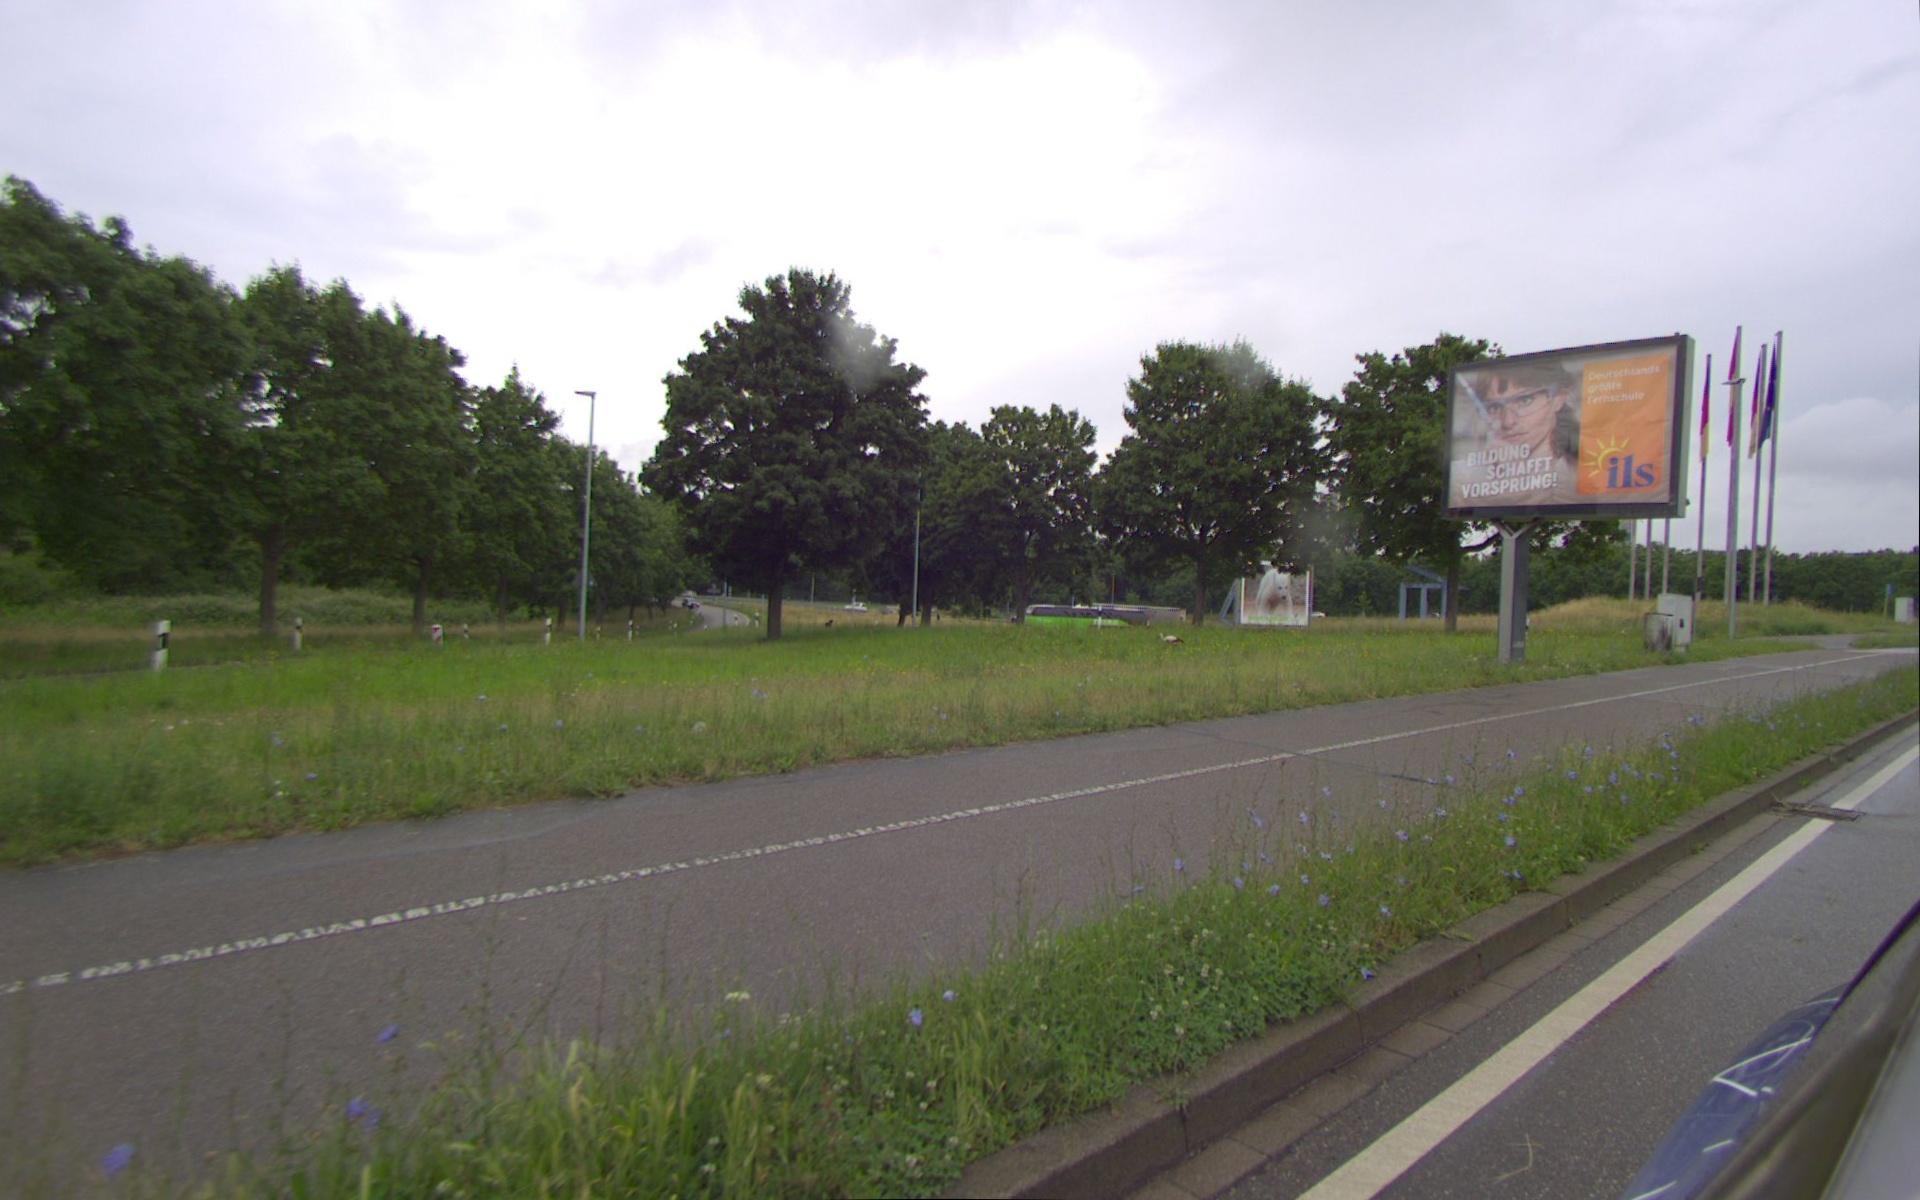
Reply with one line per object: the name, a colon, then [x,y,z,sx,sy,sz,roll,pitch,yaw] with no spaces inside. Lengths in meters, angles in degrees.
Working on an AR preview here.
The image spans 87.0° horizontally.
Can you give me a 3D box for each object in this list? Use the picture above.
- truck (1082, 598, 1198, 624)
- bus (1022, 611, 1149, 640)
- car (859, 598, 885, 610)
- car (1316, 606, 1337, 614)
truck: [24.999,1.461,141.598,16.139,3.433,2.718,1,0,32]
bus: [13.892,2.736,111.280,14.286,2.713,2.769,-1,1,-21]
car: [-14.571,0.700,166.744,3.965,1.854,1.822,1,0,29]
car: [77.109,2.177,213.073,3.941,1.652,1.991,1,0,15]
